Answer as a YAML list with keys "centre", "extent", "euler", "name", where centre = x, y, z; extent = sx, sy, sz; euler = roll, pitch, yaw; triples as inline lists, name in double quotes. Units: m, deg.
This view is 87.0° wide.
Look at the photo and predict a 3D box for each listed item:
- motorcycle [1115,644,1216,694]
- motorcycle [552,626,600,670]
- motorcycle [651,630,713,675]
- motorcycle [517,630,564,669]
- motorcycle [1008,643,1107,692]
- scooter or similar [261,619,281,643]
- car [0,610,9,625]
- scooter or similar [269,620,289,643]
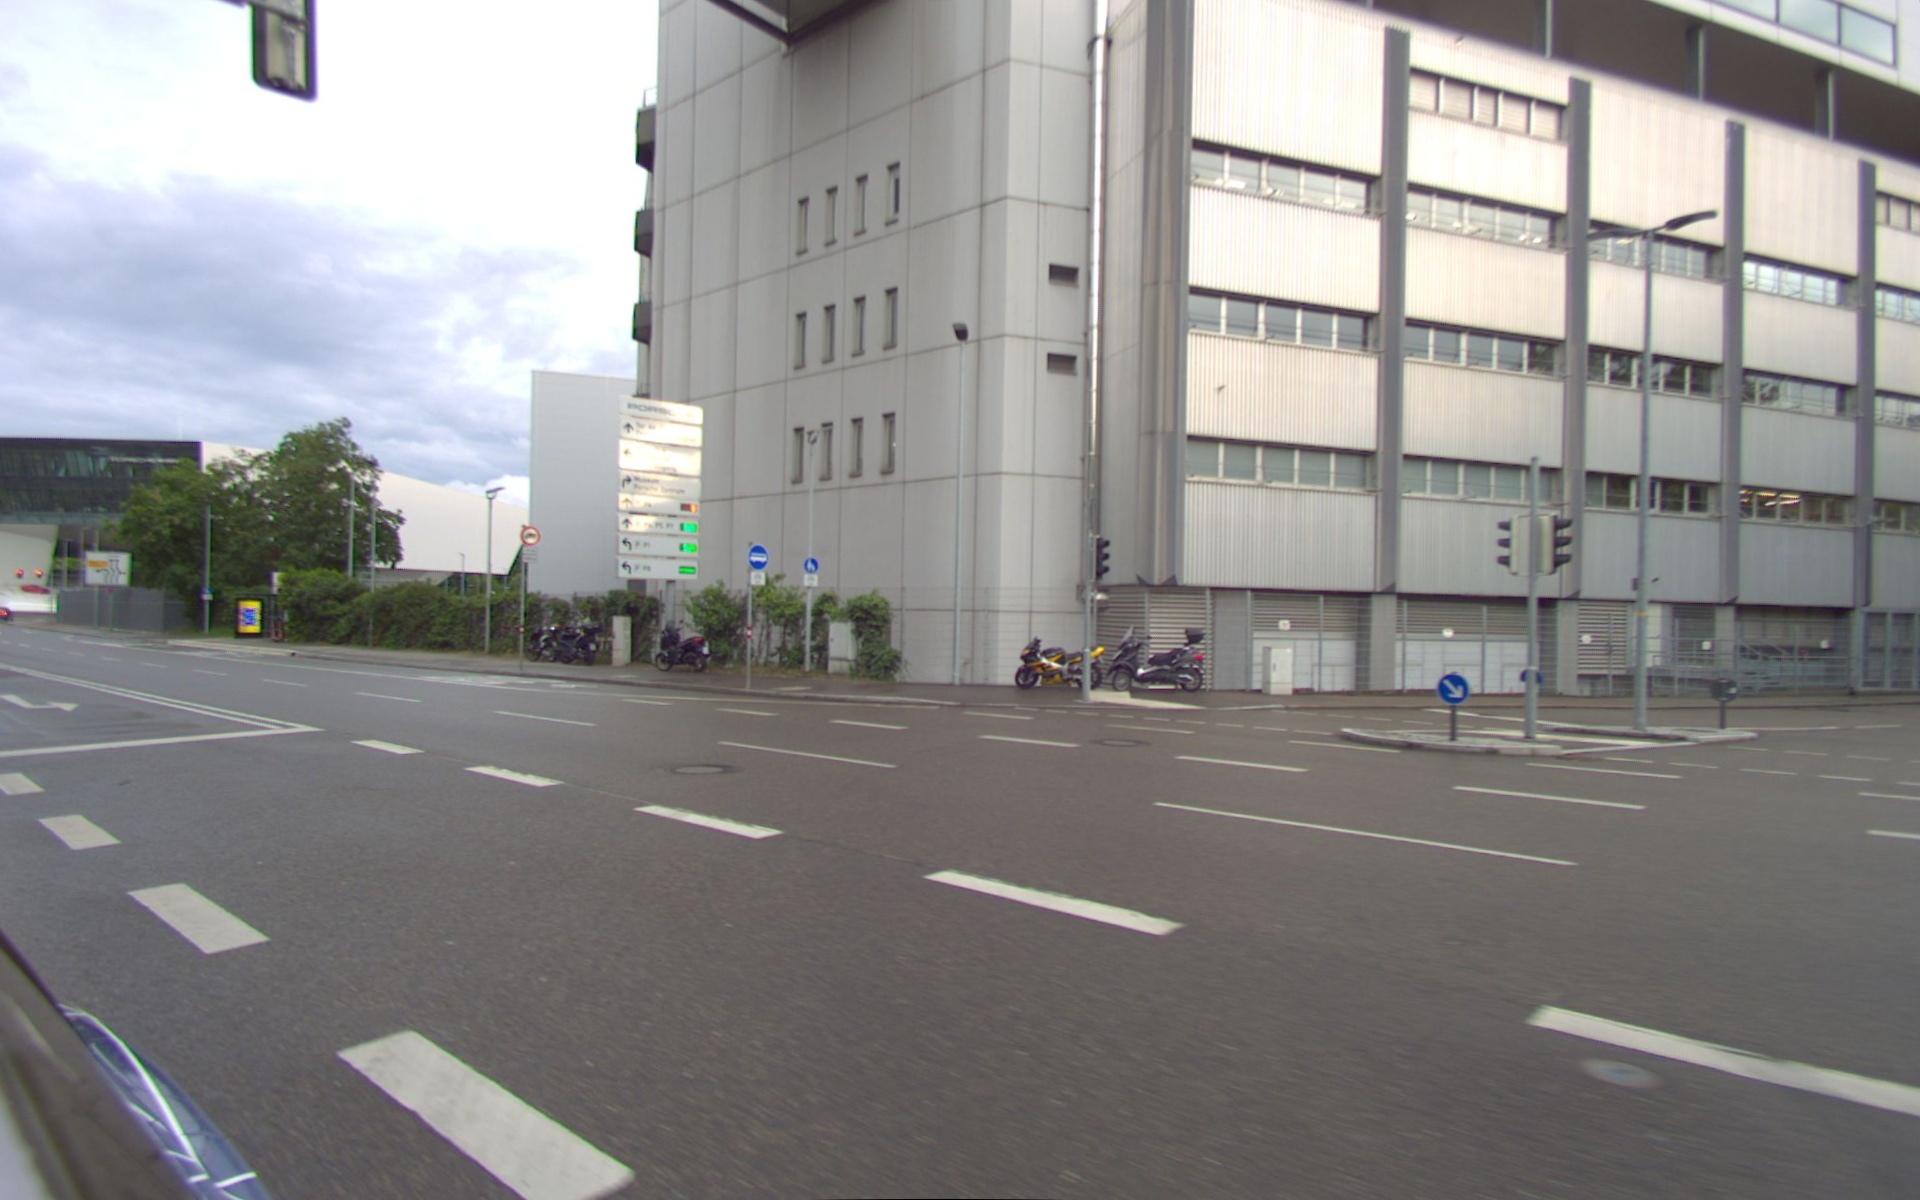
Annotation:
- centre: [4.511, 1.502, 22.256]
  extent: [2.150, 1.035, 0.624]
  euler: [0, -2, 14]
  name: "motorcycle"
- centre: [-11.949, 1.468, 31.442]
  extent: [0.617, 1.277, 2.173]
  euler: [0, -1, -44]
  name: "motorcycle"
- centre: [-7.677, 1.423, 27.907]
  extent: [2.037, 1.171, 0.562]
  euler: [-1, -2, 39]
  name: "motorcycle"
- centre: [-13.779, 1.618, 33.235]
  extent: [1.967, 1.224, 0.618]
  euler: [-1, -3, 42]
  name: "motorcycle"
- centre: [2.174, 1.503, 22.631]
  extent: [2.144, 1.035, 0.625]
  euler: [1, -2, 6]
  name: "motorcycle"
- centre: [-34.336, 1.546, 50.418]
  extent: [1.568, 1.138, 0.389]
  euler: [-1, -3, 42]
  name: "scooter or similar"
- centre: [-103.116, 1.856, 108.117]
  extent: [4.484, 1.602, 1.752]
  euler: [-1, -3, 42]
  name: "car"
- centre: [-33.124, 1.528, 49.242]
  extent: [1.568, 1.138, 0.389]
  euler: [-1, -3, 42]
  name: "scooter or similar"
